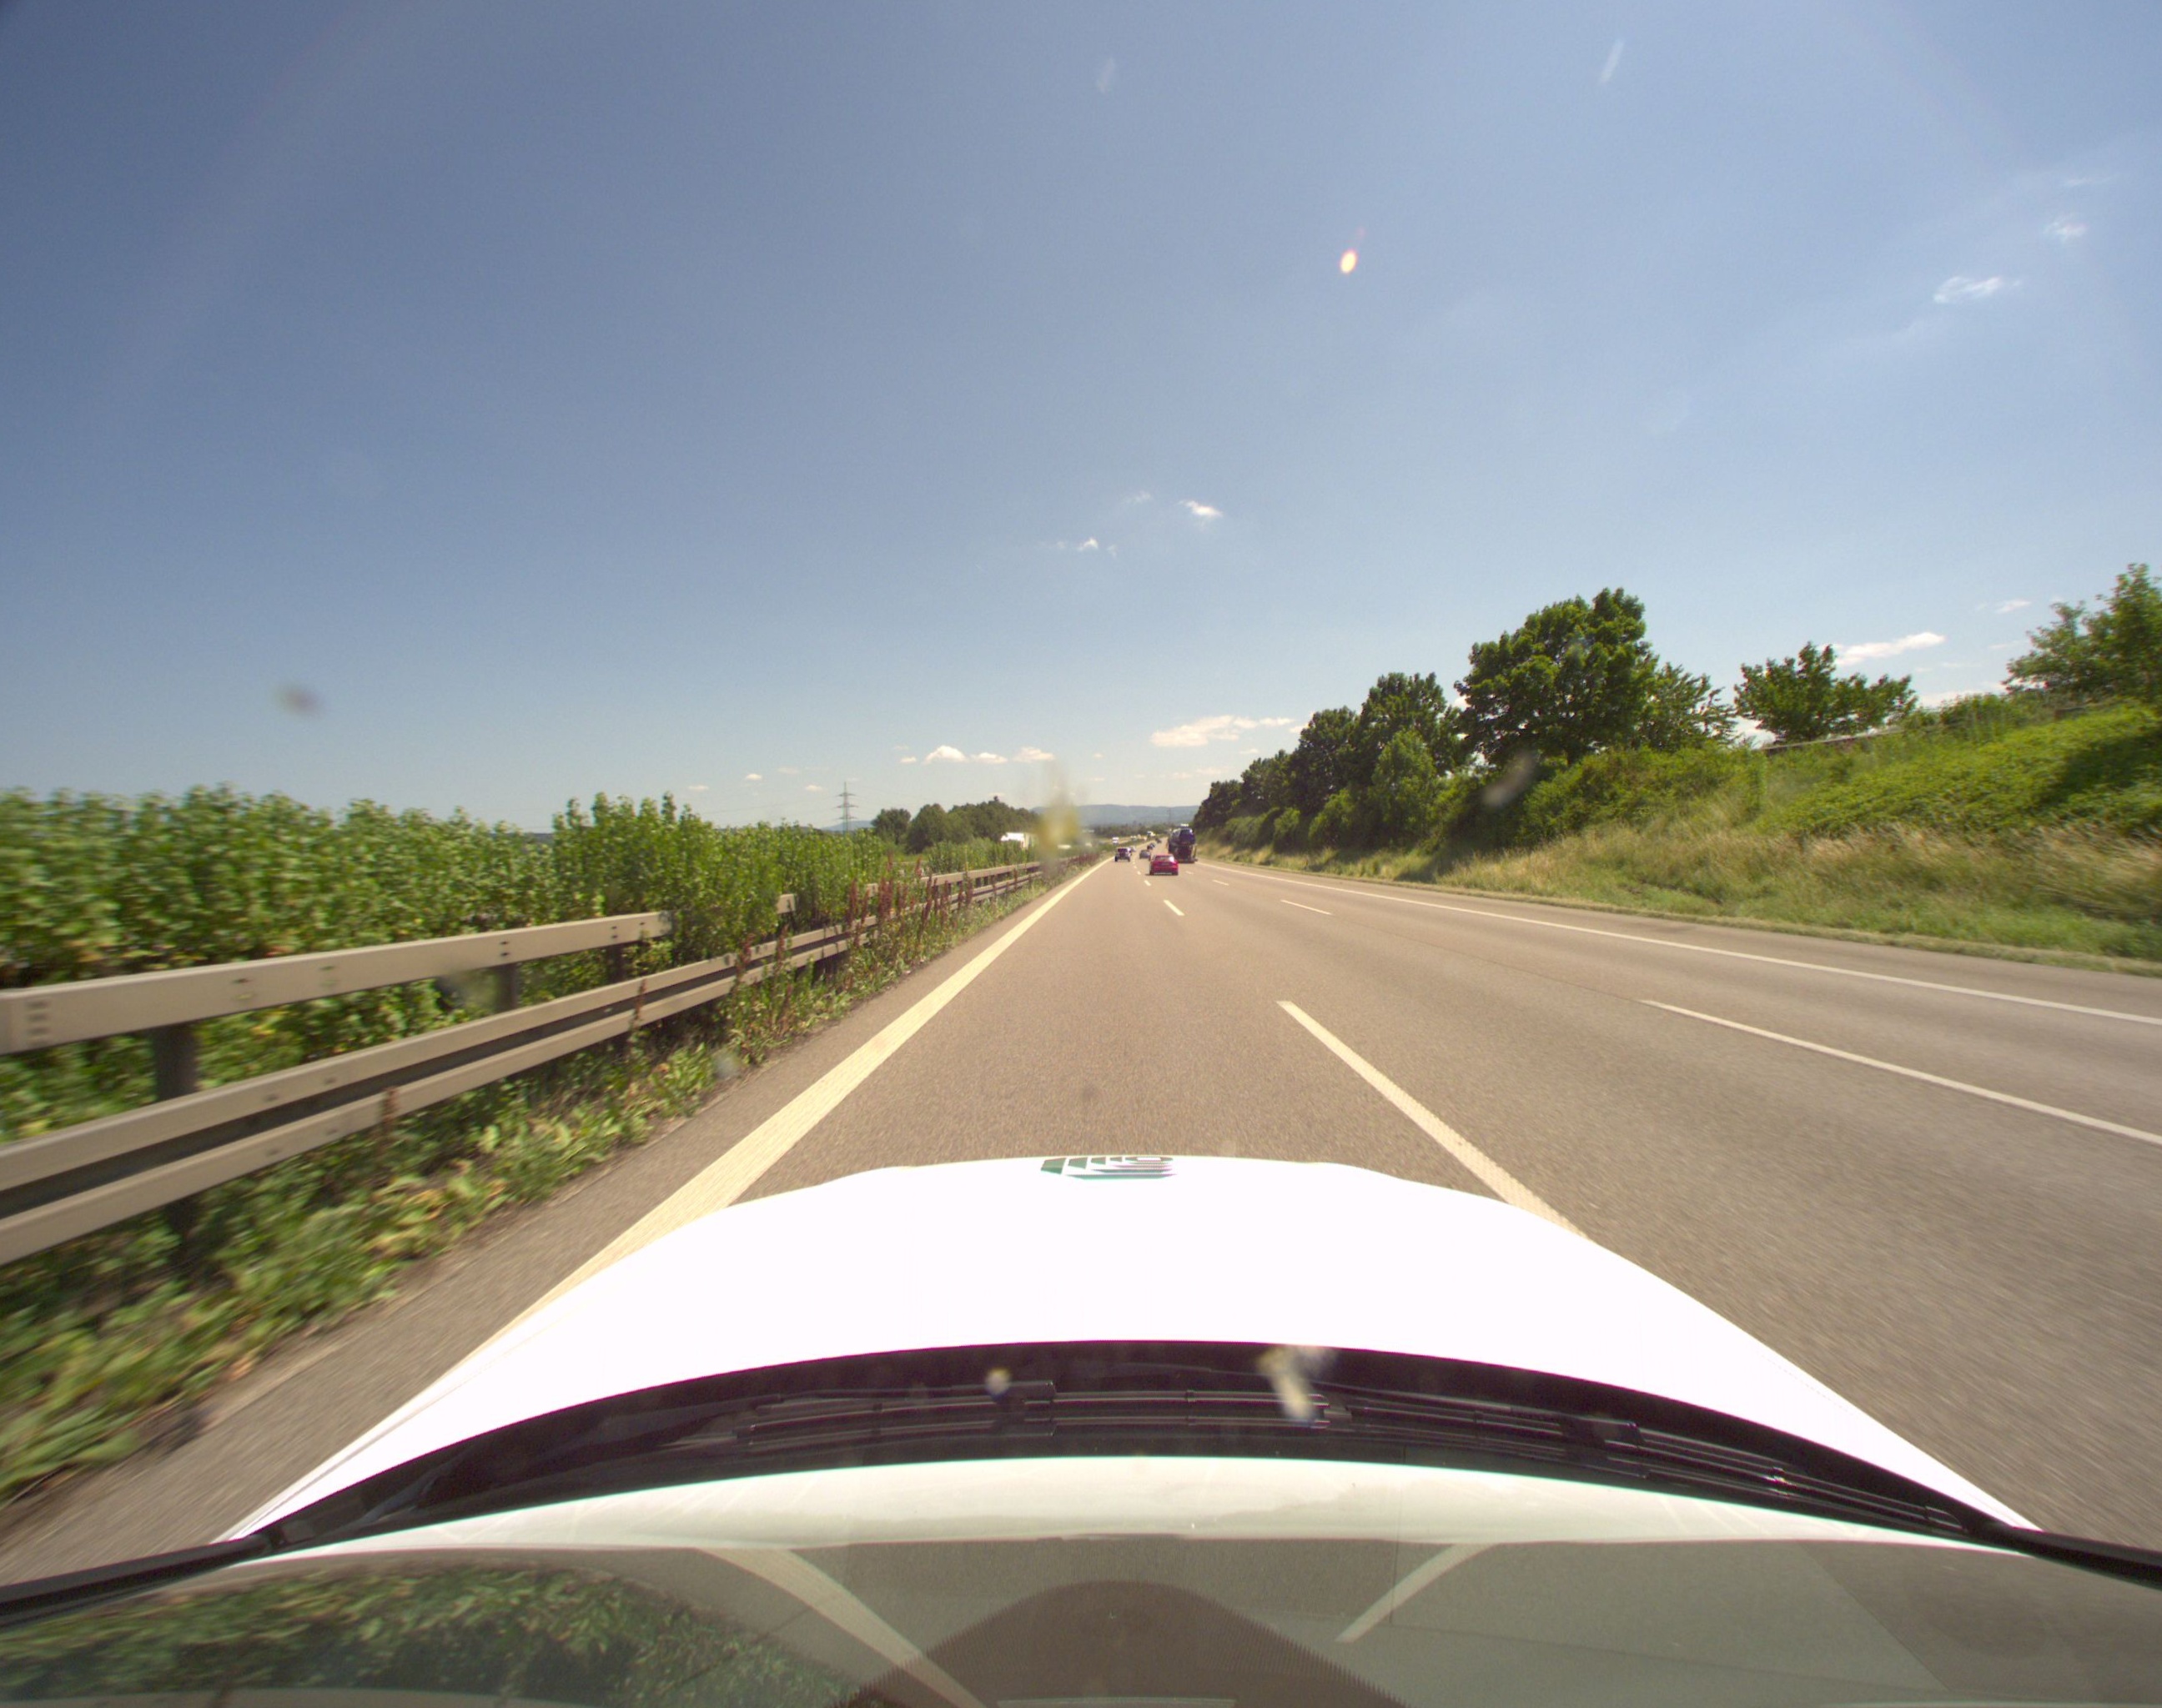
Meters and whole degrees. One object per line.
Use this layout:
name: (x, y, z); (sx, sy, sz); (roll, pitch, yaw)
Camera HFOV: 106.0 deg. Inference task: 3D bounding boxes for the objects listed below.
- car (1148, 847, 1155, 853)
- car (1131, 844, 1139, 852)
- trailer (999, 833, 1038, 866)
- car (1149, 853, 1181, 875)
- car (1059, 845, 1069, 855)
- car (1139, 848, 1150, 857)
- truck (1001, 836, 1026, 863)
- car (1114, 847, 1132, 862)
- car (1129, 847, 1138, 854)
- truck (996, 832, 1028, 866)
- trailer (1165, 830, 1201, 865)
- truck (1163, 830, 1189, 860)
car: (19.568, -1.164, 225.941); (1.626, 1.704, 3.409); (0, 1, 8)
car: (13.262, -1.456, 200.330); (1.688, 2.013, 3.831); (0, 1, 8)
trailer: (-8.262, -0.698, 109.686); (3.178, 4.076, 14.059); (0, 1, 4)
car: (5.535, 0.630, 54.019); (1.680, 1.378, 3.948); (0, 1, 0)
car: (-3.497, -0.785, 163.717); (1.622, 1.828, 3.774); (0, 1, 4)
car: (9.858, -0.232, 125.926); (1.447, 1.267, 3.540); (0, 1, 1)
truck: (-10.401, -0.695, 125.983); (2.997, 4.109, 5.628); (0, 1, 4)
car: (5.430, 0.037, 105.011); (2.077, 1.829, 4.752); (0, 1, -1)
car: (9.898, -0.632, 153.327); (1.448, 1.267, 3.343); (0, 1, 6)
truck: (-8.693, -0.675, 103.340); (3.162, 4.109, 5.233); (0, 1, 4)
trailer: (12.297, -0.871, 99.929); (2.844, 3.993, 15.402); (0, 1, 1)
truck: (12.467, -1.176, 107.649); (2.744, 3.852, 6.645); (0, 1, 1)
